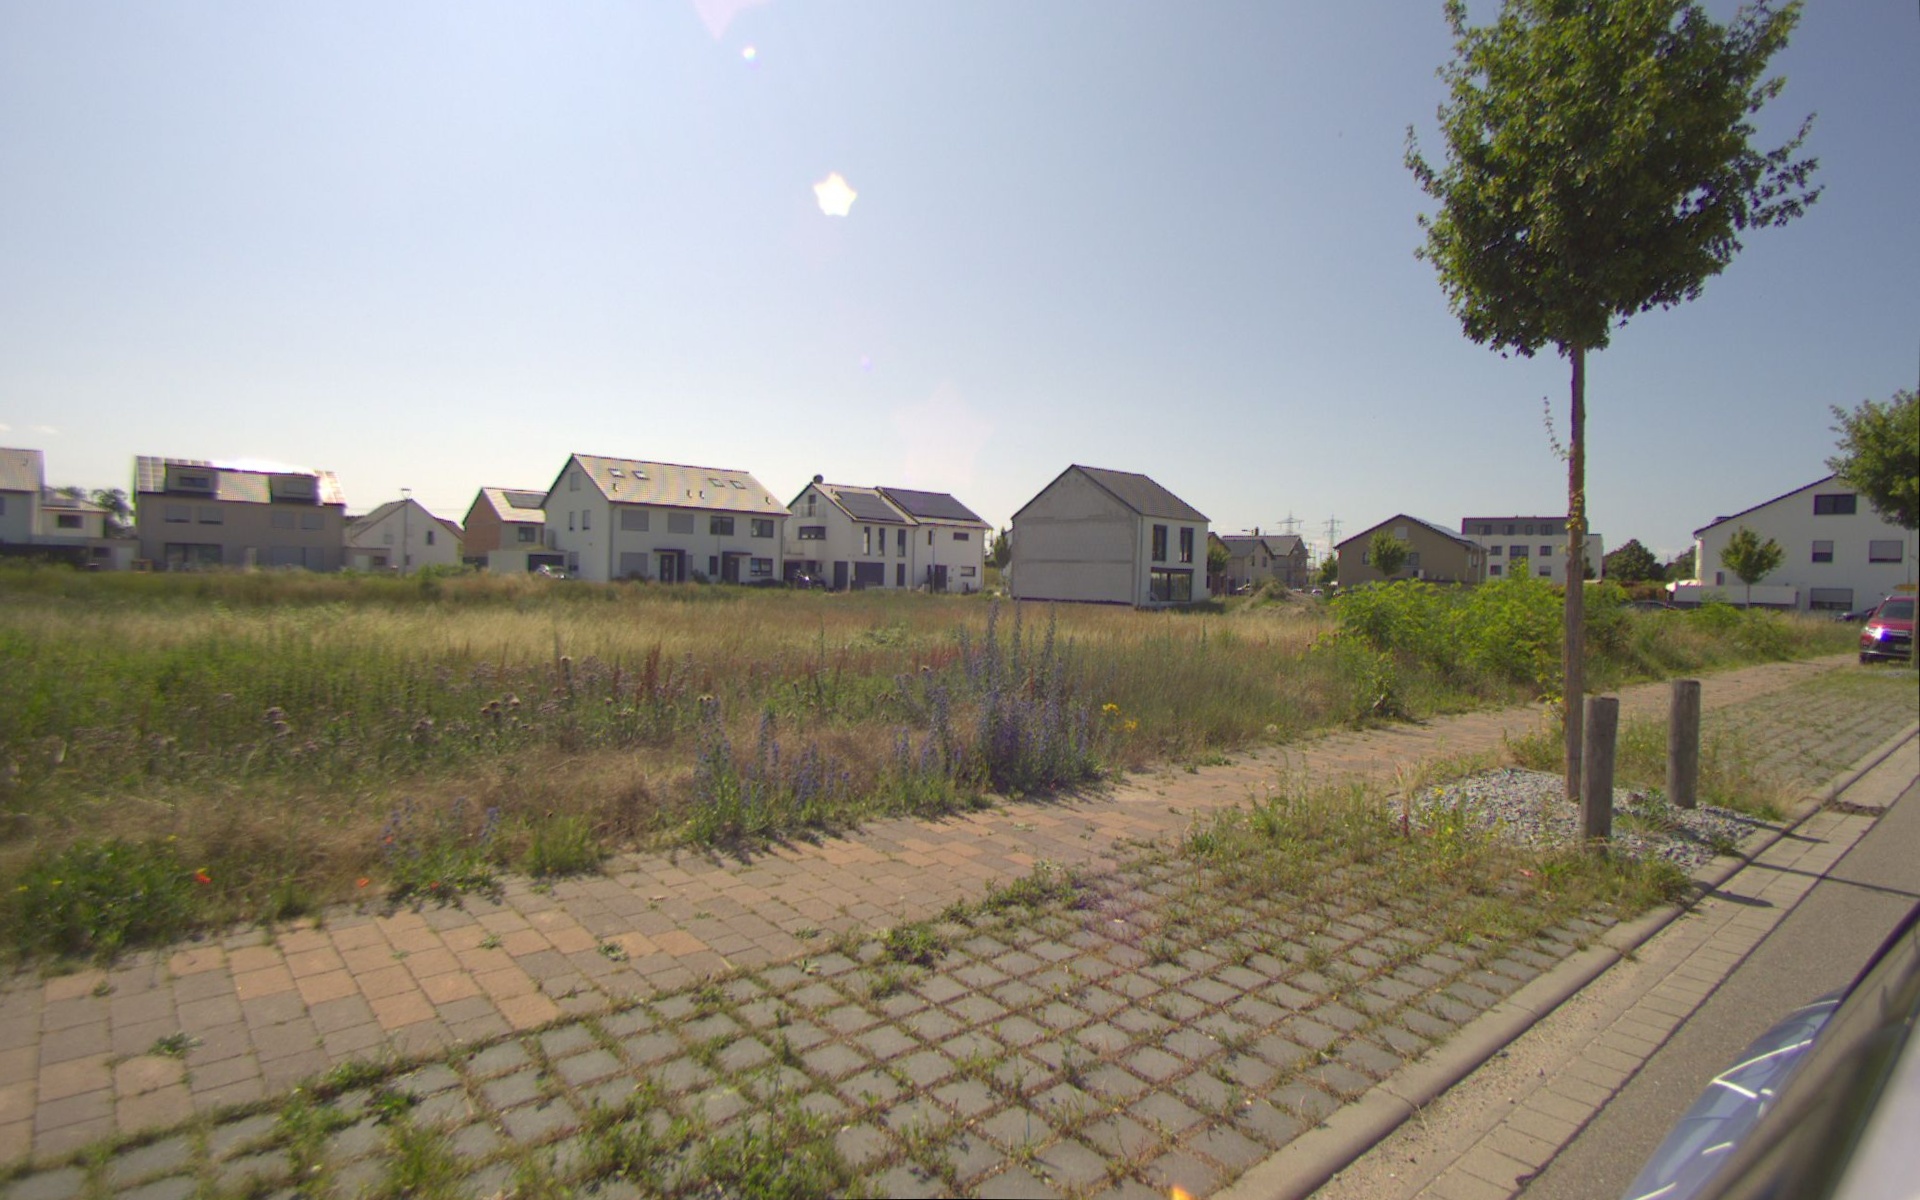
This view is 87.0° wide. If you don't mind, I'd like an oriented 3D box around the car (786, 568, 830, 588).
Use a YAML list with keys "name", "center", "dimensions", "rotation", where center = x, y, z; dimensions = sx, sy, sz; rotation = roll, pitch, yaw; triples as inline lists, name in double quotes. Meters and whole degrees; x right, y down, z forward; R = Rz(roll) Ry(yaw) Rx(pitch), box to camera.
- name: "car"
  center: [-12.355, -1.785, 82.159]
  dimensions: [1.782, 1.531, 3.999]
  rotation: [1, 1, -37]

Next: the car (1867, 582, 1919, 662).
- name: "car"
  center: [22.125, 0.512, 22.980]
  dimensions: [4.357, 1.683, 1.780]
  rotation: [1, 2, -42]

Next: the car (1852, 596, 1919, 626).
- name: "car"
  center: [52.872, 0.651, 56.591]
  dimensions: [1.927, 1.577, 4.342]
  rotation: [1, 1, -43]

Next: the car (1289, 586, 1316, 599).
- name: "car"
  center: [38.923, -0.859, 114.923]
  dimensions: [1.660, 1.418, 3.864]
  rotation: [3, 2, 40]

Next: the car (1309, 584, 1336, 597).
- name: "car"
  center: [42.963, -1.102, 119.756]
  dimensions: [1.742, 1.521, 3.942]
  rotation: [3, 2, 40]

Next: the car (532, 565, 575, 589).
- name: "car"
  center: [-27.894, -1.572, 69.375]
  dimensions: [1.782, 1.593, 3.999]
  rotation: [1, 1, -37]
